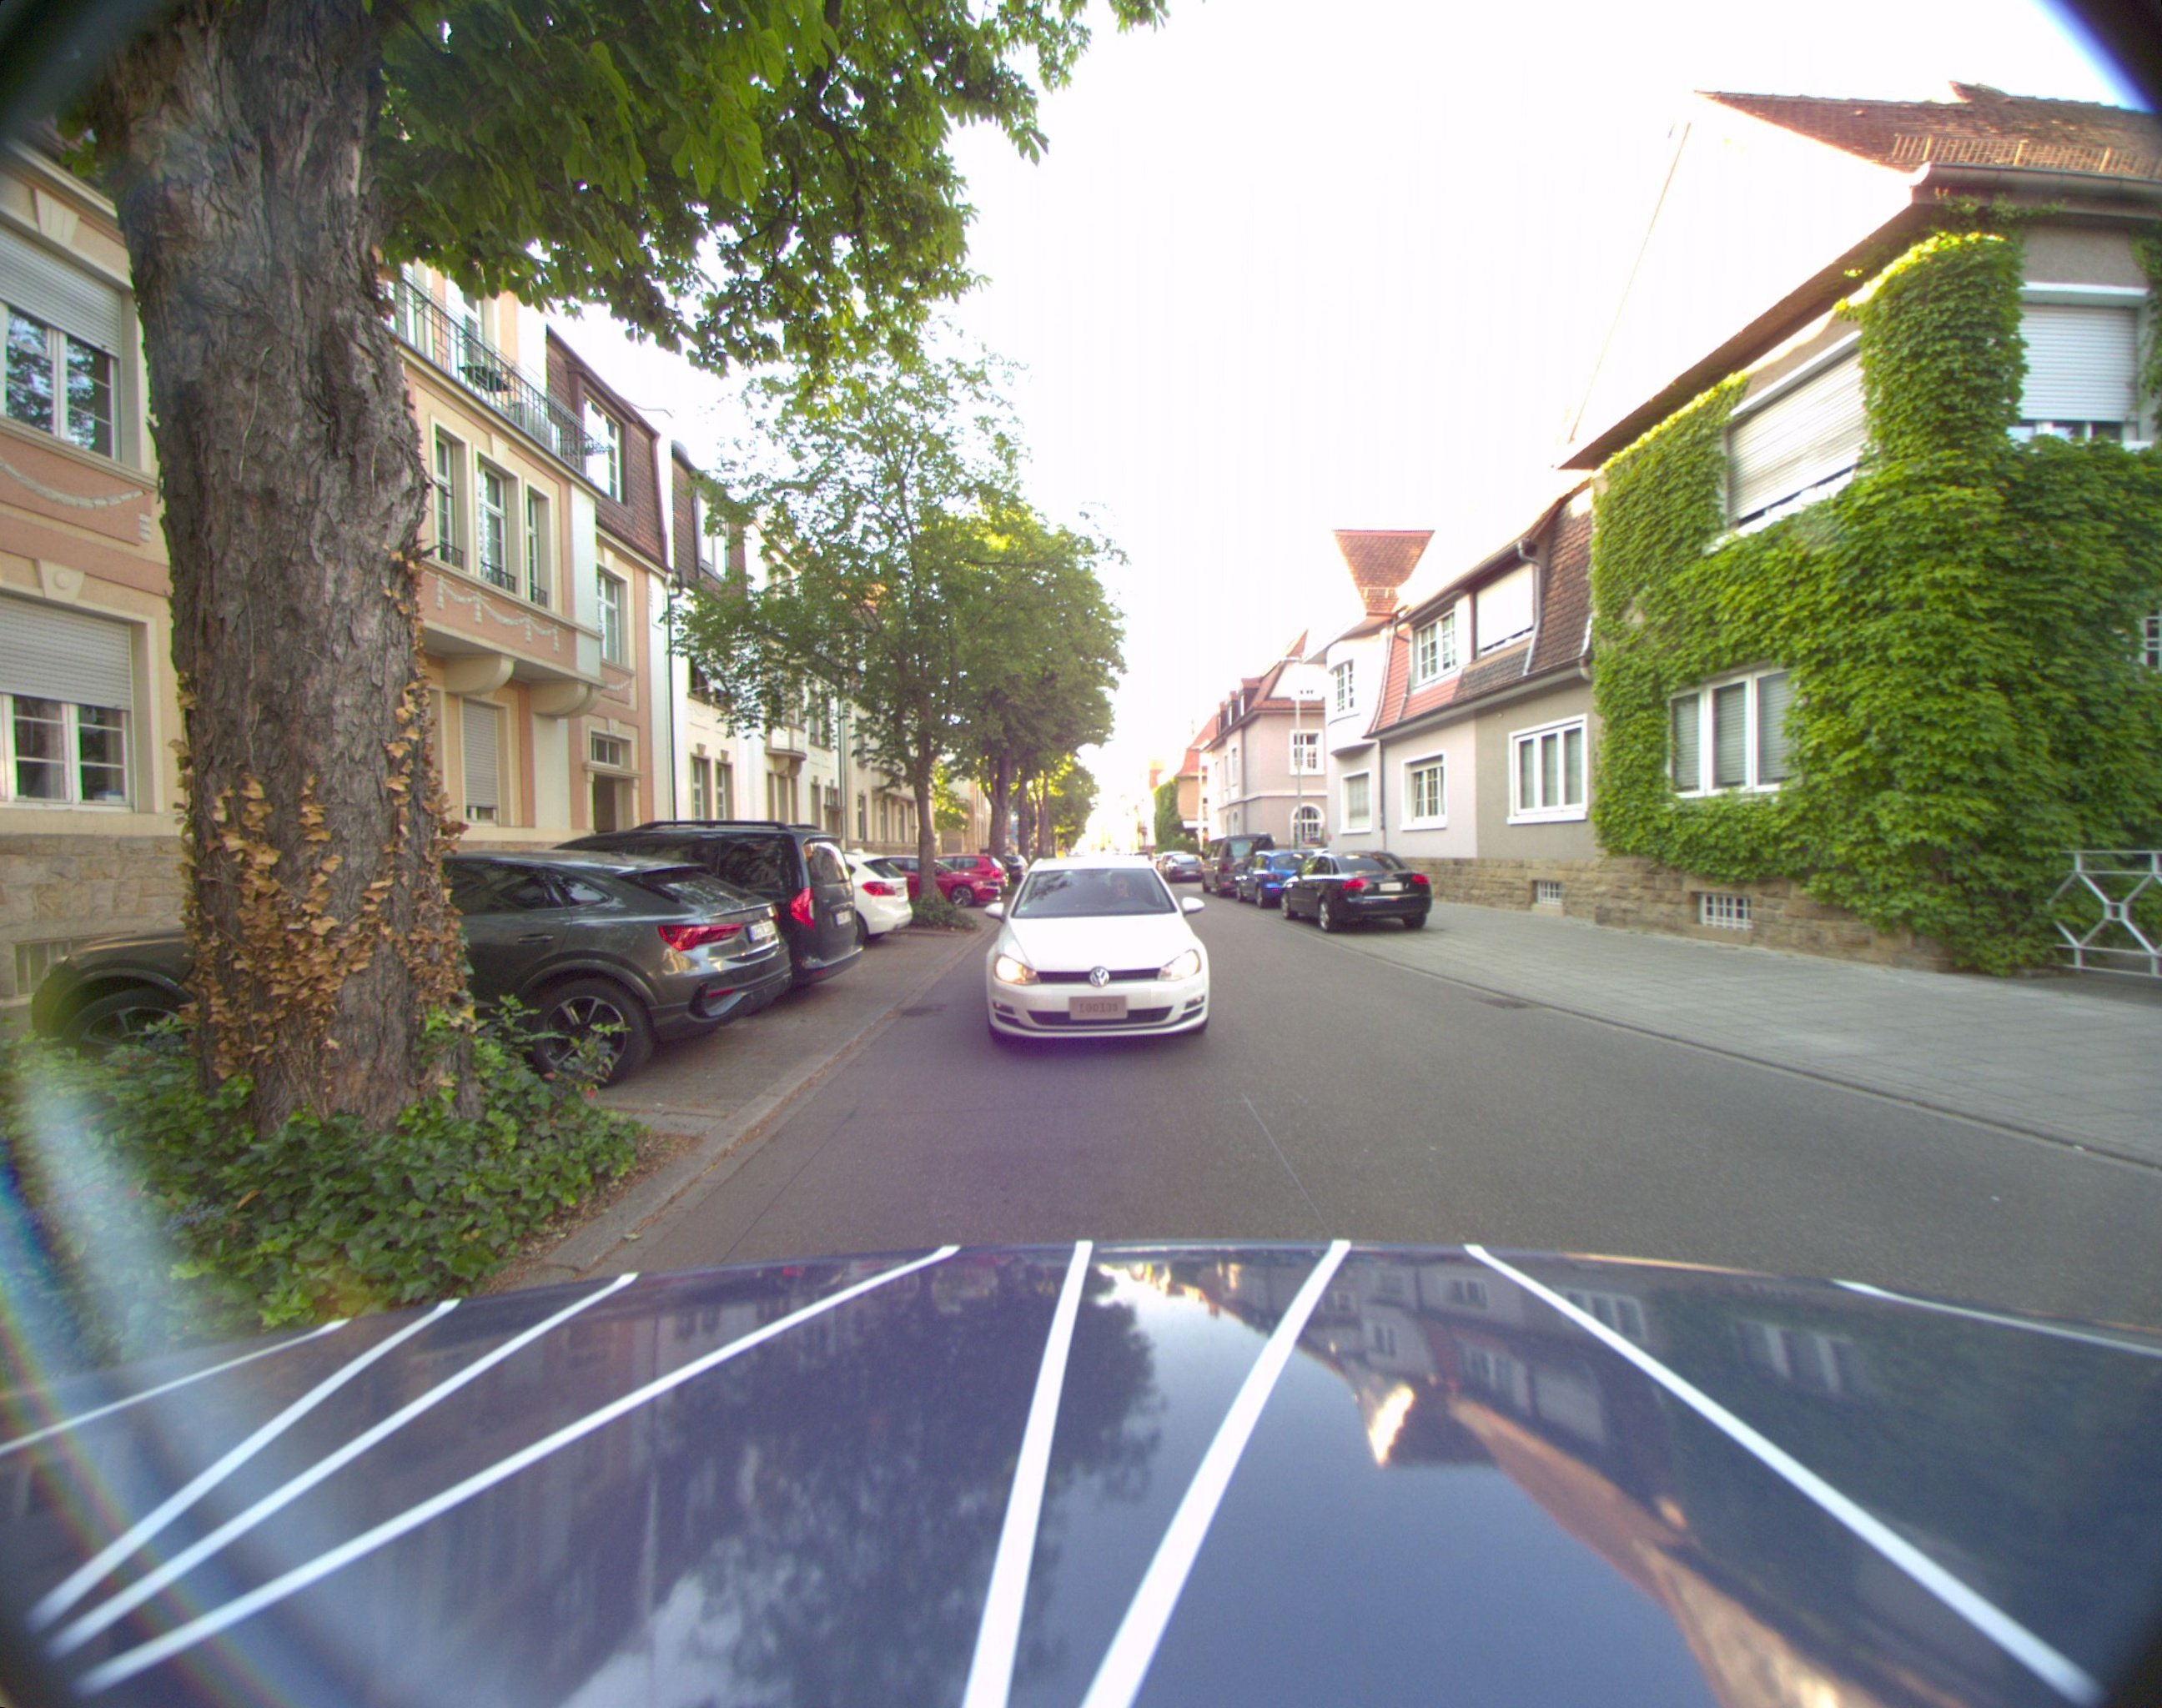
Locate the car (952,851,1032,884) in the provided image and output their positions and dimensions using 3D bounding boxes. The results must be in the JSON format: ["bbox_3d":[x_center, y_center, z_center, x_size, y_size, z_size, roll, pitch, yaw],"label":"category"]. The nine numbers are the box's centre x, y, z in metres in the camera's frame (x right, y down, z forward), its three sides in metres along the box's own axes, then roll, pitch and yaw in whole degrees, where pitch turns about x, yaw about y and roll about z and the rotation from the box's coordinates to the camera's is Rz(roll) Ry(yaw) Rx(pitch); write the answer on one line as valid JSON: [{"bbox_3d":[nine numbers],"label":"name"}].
[{"bbox_3d":[-4.279,0.622,36.840,3.680,1.548,1.576,0,1,2],"label":"car"}]

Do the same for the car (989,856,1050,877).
[{"bbox_3d":[-3.563,0.728,44.436,3.399,1.143,1.542,0,1,2],"label":"car"}]

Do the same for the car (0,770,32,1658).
[{"bbox_3d":[-4.592,0.772,0.522,4.763,1.864,1.896,0,1,-4],"label":"car"}]

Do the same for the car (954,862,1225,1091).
[{"bbox_3d":[0.095,0.867,7.279,1.819,1.454,4.072,-2,0,1],"label":"car"}]

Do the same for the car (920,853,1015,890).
[{"bbox_3d":[-4.676,0.710,31.710,3.680,1.458,1.576,0,1,2],"label":"car"}]

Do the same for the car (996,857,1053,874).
[{"bbox_3d":[-3.514,0.722,47.642,3.399,1.057,1.542,0,1,2],"label":"car"}]

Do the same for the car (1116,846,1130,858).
[{"bbox_3d":[5.549,-0.251,100.735,1.699,1.520,3.677,-3,1,2],"label":"car"}]

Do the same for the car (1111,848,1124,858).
[{"bbox_3d":[5.553,-0.146,115.862,1.699,1.520,3.677,-3,1,2],"label":"car"}]

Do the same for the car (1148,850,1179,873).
[{"bbox_3d":[5.441,0.470,50.383,1.662,1.354,3.677,-3,1,2],"label":"car"}]

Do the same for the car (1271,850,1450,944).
[{"bbox_3d":[5.141,0.698,14.669,1.806,1.438,4.428,-3,1,0],"label":"car"}]

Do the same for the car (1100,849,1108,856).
[{"bbox_3d":[5.291,-0.279,173.290,1.699,1.520,3.677,-3,1,2],"label":"car"}]

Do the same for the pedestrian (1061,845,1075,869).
[{"bbox_3d":[-1.070,0.234,64.199,1.119,1.927,1.097,-3,1,-1],"label":"pedestrian"}]

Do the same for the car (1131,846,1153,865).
[{"bbox_3d":[5.424,0.147,68.006,1.699,1.558,3.677,-3,1,2],"label":"car"}]

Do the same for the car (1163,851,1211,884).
[{"bbox_3d":[5.063,0.594,36.667,1.932,1.376,4.063,-3,1,4],"label":"car"}]

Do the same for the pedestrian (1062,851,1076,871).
[{"bbox_3d":[-1.133,0.695,74.723,1.276,1.927,1.186,-3,1,-1],"label":"pedestrian"}]

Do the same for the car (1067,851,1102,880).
[{"bbox_3d":[0.228,0.585,42.213,1.819,1.454,4.072,-2,0,1],"label":"car"}]

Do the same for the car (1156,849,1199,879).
[{"bbox_3d":[5.285,0.504,42.144,1.932,1.458,4.062,-3,1,2],"label":"car"}]

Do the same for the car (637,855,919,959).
[{"bbox_3d":[-4.829,0.817,12.532,3.950,1.568,1.719,0,1,0],"label":"car"}]

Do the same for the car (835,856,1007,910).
[{"bbox_3d":[-4.532,0.800,21.938,4.530,1.443,1.867,0,1,3],"label":"car"}]

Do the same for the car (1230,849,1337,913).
[{"bbox_3d":[5.282,0.646,20.343,1.768,1.438,4.062,-3,1,0],"label":"car"}]

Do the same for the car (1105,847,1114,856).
[{"bbox_3d":[5.578,-0.484,149.119,1.699,1.520,3.677,-3,1,2],"label":"car"}]

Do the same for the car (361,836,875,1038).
[{"bbox_3d":[-4.435,0.739,7.832,4.121,1.827,1.844,0,1,-2],"label":"car"}]

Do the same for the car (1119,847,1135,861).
[{"bbox_3d":[5.505,-0.049,91.011,1.699,1.520,3.677,-3,1,2],"label":"car"}]

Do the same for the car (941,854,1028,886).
[{"bbox_3d":[-4.312,0.713,34.326,3.680,1.390,1.576,0,1,2],"label":"car"}]

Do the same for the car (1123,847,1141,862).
[{"bbox_3d":[5.439,0.055,80.763,1.699,1.520,3.677,-3,1,2],"label":"car"}]

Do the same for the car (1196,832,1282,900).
[{"bbox_3d":[5.147,0.354,25.354,1.842,1.964,4.612,-3,1,0],"label":"car"}]

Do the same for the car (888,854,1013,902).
[{"bbox_3d":[-4.137,0.751,24.466,3.680,1.473,1.659,0,1,3],"label":"car"}]

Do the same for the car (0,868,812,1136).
[{"bbox_3d":[-4.538,0.890,5.507,4.522,1.514,1.844,0,1,-4],"label":"car"}]

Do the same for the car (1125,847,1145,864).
[{"bbox_3d":[5.338,0.114,75.271,1.699,1.520,3.677,-3,1,2],"label":"car"}]

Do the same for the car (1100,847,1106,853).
[{"bbox_3d":[5.850,-1.010,202.669,1.699,1.520,3.677,-3,1,2],"label":"car"}]
